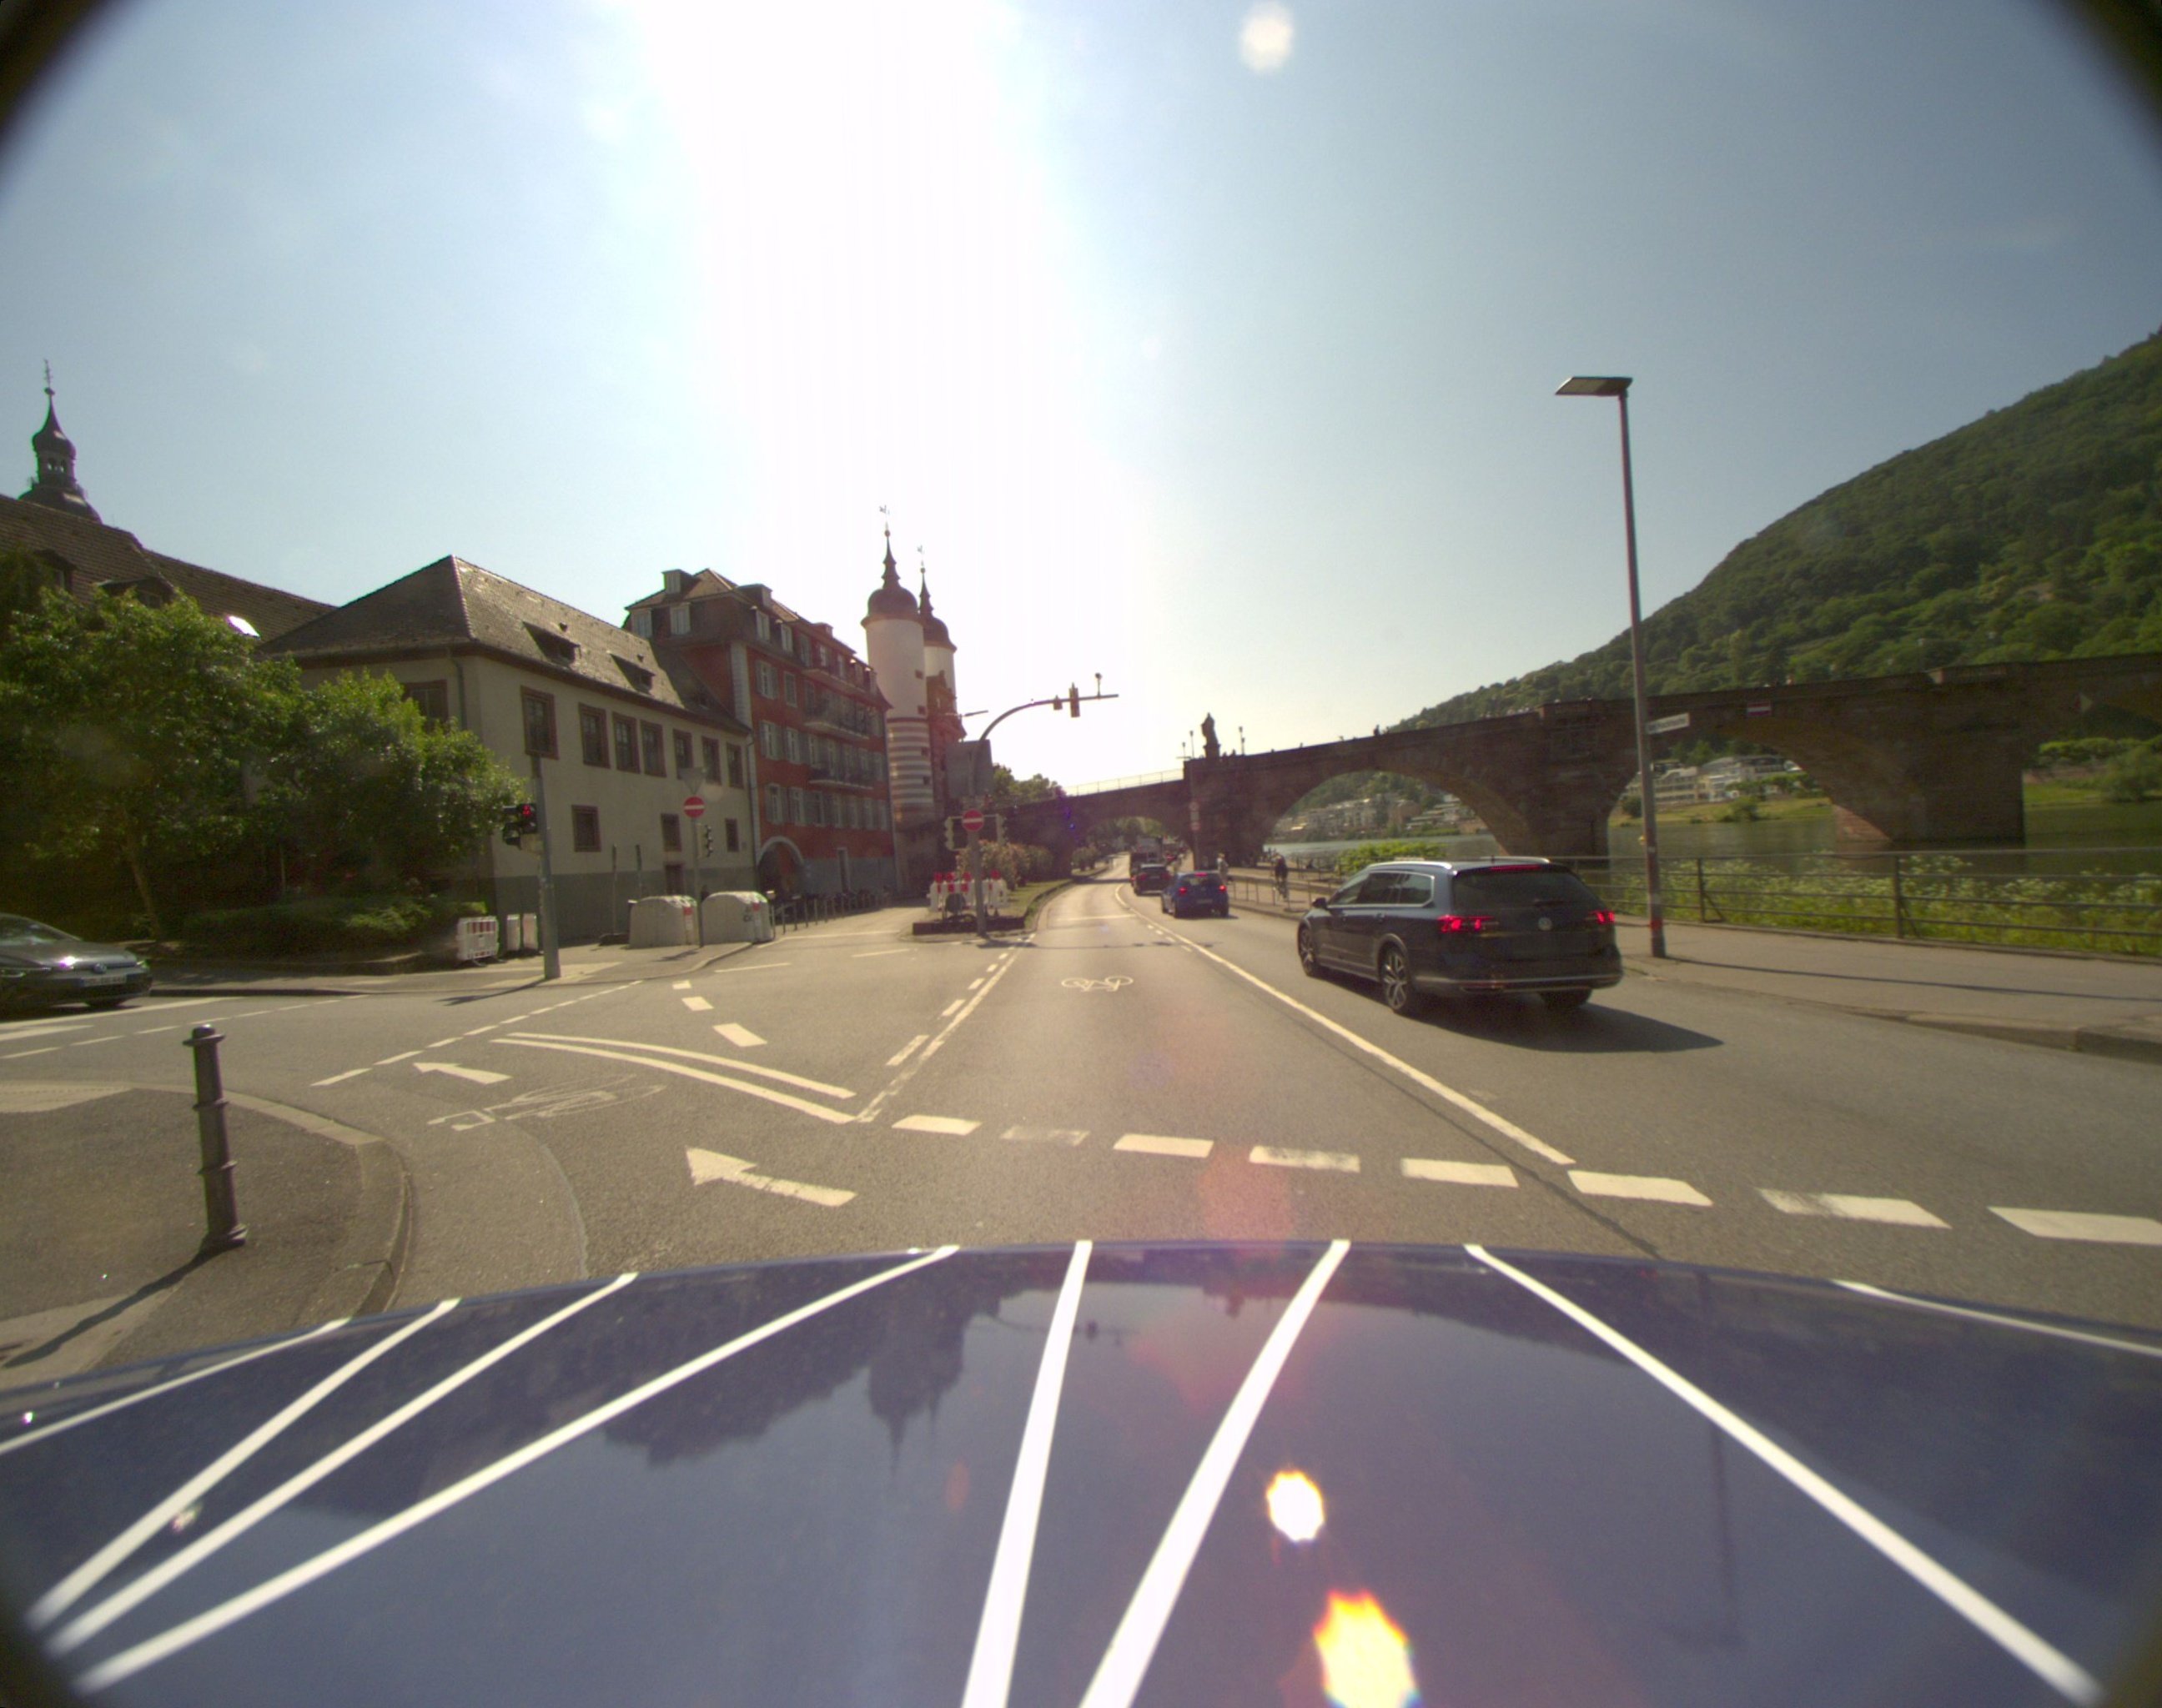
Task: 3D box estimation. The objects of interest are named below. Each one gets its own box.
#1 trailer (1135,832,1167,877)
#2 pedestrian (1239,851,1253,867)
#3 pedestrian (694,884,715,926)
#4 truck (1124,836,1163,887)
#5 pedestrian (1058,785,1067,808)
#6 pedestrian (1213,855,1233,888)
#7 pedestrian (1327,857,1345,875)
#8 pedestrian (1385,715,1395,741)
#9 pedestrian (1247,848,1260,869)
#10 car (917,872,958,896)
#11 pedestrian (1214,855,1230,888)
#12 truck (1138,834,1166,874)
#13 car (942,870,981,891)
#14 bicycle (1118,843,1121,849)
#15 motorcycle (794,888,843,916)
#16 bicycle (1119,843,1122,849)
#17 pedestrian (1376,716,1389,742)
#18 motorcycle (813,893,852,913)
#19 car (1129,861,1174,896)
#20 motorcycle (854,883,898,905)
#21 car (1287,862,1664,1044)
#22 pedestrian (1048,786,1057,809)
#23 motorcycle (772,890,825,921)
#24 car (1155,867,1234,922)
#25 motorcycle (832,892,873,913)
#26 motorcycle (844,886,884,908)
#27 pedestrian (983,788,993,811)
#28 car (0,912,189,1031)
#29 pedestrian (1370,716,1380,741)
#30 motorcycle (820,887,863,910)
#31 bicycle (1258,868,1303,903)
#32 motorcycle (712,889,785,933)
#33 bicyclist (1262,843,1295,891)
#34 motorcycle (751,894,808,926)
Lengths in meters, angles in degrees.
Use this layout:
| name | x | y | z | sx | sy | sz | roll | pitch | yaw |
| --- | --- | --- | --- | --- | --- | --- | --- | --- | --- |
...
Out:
| name | x | y | z | sx | sy | sz | roll | pitch | yaw |
| --- | --- | --- | --- | --- | --- | --- | --- | --- | --- |
| trailer | 6.407 | -0.092 | 68.884 | 2.529 | 3.623 | 11.534 | -2 | 1 | 6 |
| pedestrian | 13.046 | 0.416 | 60.155 | 0.790 | 1.222 | 1.026 | -4 | 0 | 3 |
| pedestrian | -16.980 | 2.294 | 34.271 | 0.496 | 1.812 | 0.619 | -3 | 2 | 1 |
| truck | 4.515 | 0.436 | 54.320 | 2.381 | 3.242 | 7.613 | -4 | 1 | 6 |
| pedestrian | -1.698 | -5.222 | 69.110 | 0.640 | 2.002 | 0.707 | -3 | 2 | 8 |
| pedestrian | 7.569 | 0.937 | 40.543 | 0.758 | 1.712 | 0.543 | -5 | 1 | -33 |
| pedestrian | 17.078 | 0.815 | 50.885 | 0.967 | 1.124 | 0.831 | -3 | 0 | 9 |
| pedestrian | 25.382 | -10.373 | 62.449 | 0.467 | 2.002 | 0.639 | -3 | 2 | 0 |
| pedestrian | 13.455 | 0.351 | 59.226 | 0.790 | 1.641 | 0.774 | -4 | 0 | 3 |
| car | -11.248 | 2.339 | 59.842 | 1.674 | 1.533 | 3.814 | -4 | 0 | 14 |
| pedestrian | 8.054 | 0.989 | 43.486 | 0.520 | 1.782 | 0.823 | -4 | 0 | 31 |
| truck | 7.055 | 0.028 | 75.064 | 2.529 | 3.726 | 6.249 | -2 | 0 | 6 |
| car | -10.093 | 2.203 | 64.639 | 1.896 | 1.484 | 4.419 | -3 | 1 | 10 |
| bicycle | 8.674 | -1.873 | 171.854 | 0.476 | 1.255 | 2.163 | -1 | 2 | 8 |
| motorcycle | -13.559 | 2.475 | 39.246 | 2.186 | 1.260 | 0.781 | -4 | 1 | -31 |
| bicycle | 9.094 | -1.843 | 174.077 | 0.476 | 1.255 | 2.163 | -1 | 2 | 8 |
| pedestrian | 24.766 | -10.273 | 62.449 | 0.694 | 2.002 | 0.625 | -3 | 2 | 0 |
| motorcycle | -13.763 | 2.702 | 42.091 | 1.935 | 0.981 | 0.546 | -4 | 1 | -39 |
| car | 3.744 | 1.277 | 41.108 | 1.868 | 1.671 | 4.454 | -3 | 0 | -1 |
| motorcycle | -13.148 | 2.550 | 48.799 | 2.547 | 1.226 | 0.840 | -3 | 0 | -36 |
| car | 3.855 | 0.847 | 8.456 | 1.813 | 1.398 | 4.357 | -3 | -1 | -1 |
| pedestrian | -2.644 | -5.193 | 70.100 | 0.640 | 2.002 | 0.707 | -3 | 2 | 8 |
| motorcycle | -13.395 | 2.442 | 36.016 | 2.201 | 1.260 | 0.627 | -4 | 1 | -31 |
| car | 3.627 | 1.253 | 25.010 | 1.734 | 1.482 | 4.324 | -2 | 1 | -2 |
| motorcycle | -13.607 | 2.874 | 45.196 | 2.202 | 1.070 | 0.627 | -4 | 1 | -39 |
| motorcycle | -13.410 | 2.644 | 47.002 | 2.156 | 1.226 | 0.840 | -3 | 0 | -36 |
| pedestrian | -8.306 | -4.840 | 68.078 | 0.640 | 2.002 | 0.707 | -3 | 2 | 8 |
| car | -15.487 | 1.572 | 10.498 | 3.997 | 1.476 | 1.862 | 0 | -4 | -1 |
| pedestrian | 24.132 | -10.305 | 62.434 | 0.467 | 2.002 | 0.639 | -3 | 2 | 0 |
| motorcycle | -13.776 | 2.539 | 43.729 | 2.202 | 1.141 | 0.627 | -4 | 1 | -39 |
| bicycle | 6.967 | 1.088 | 26.596 | 0.669 | 1.106 | 2.033 | -5 | 0 | -9 |
| motorcycle | -13.541 | 2.295 | 30.965 | 2.501 | 1.524 | 1.051 | -4 | 1 | -33 |
| bicyclist | 6.908 | 0.456 | 26.610 | 0.669 | 1.622 | 0.979 | -5 | 0 | -9 |
| motorcycle | -13.571 | 2.501 | 34.266 | 2.239 | 1.245 | 0.627 | -4 | 1 | -31 |
